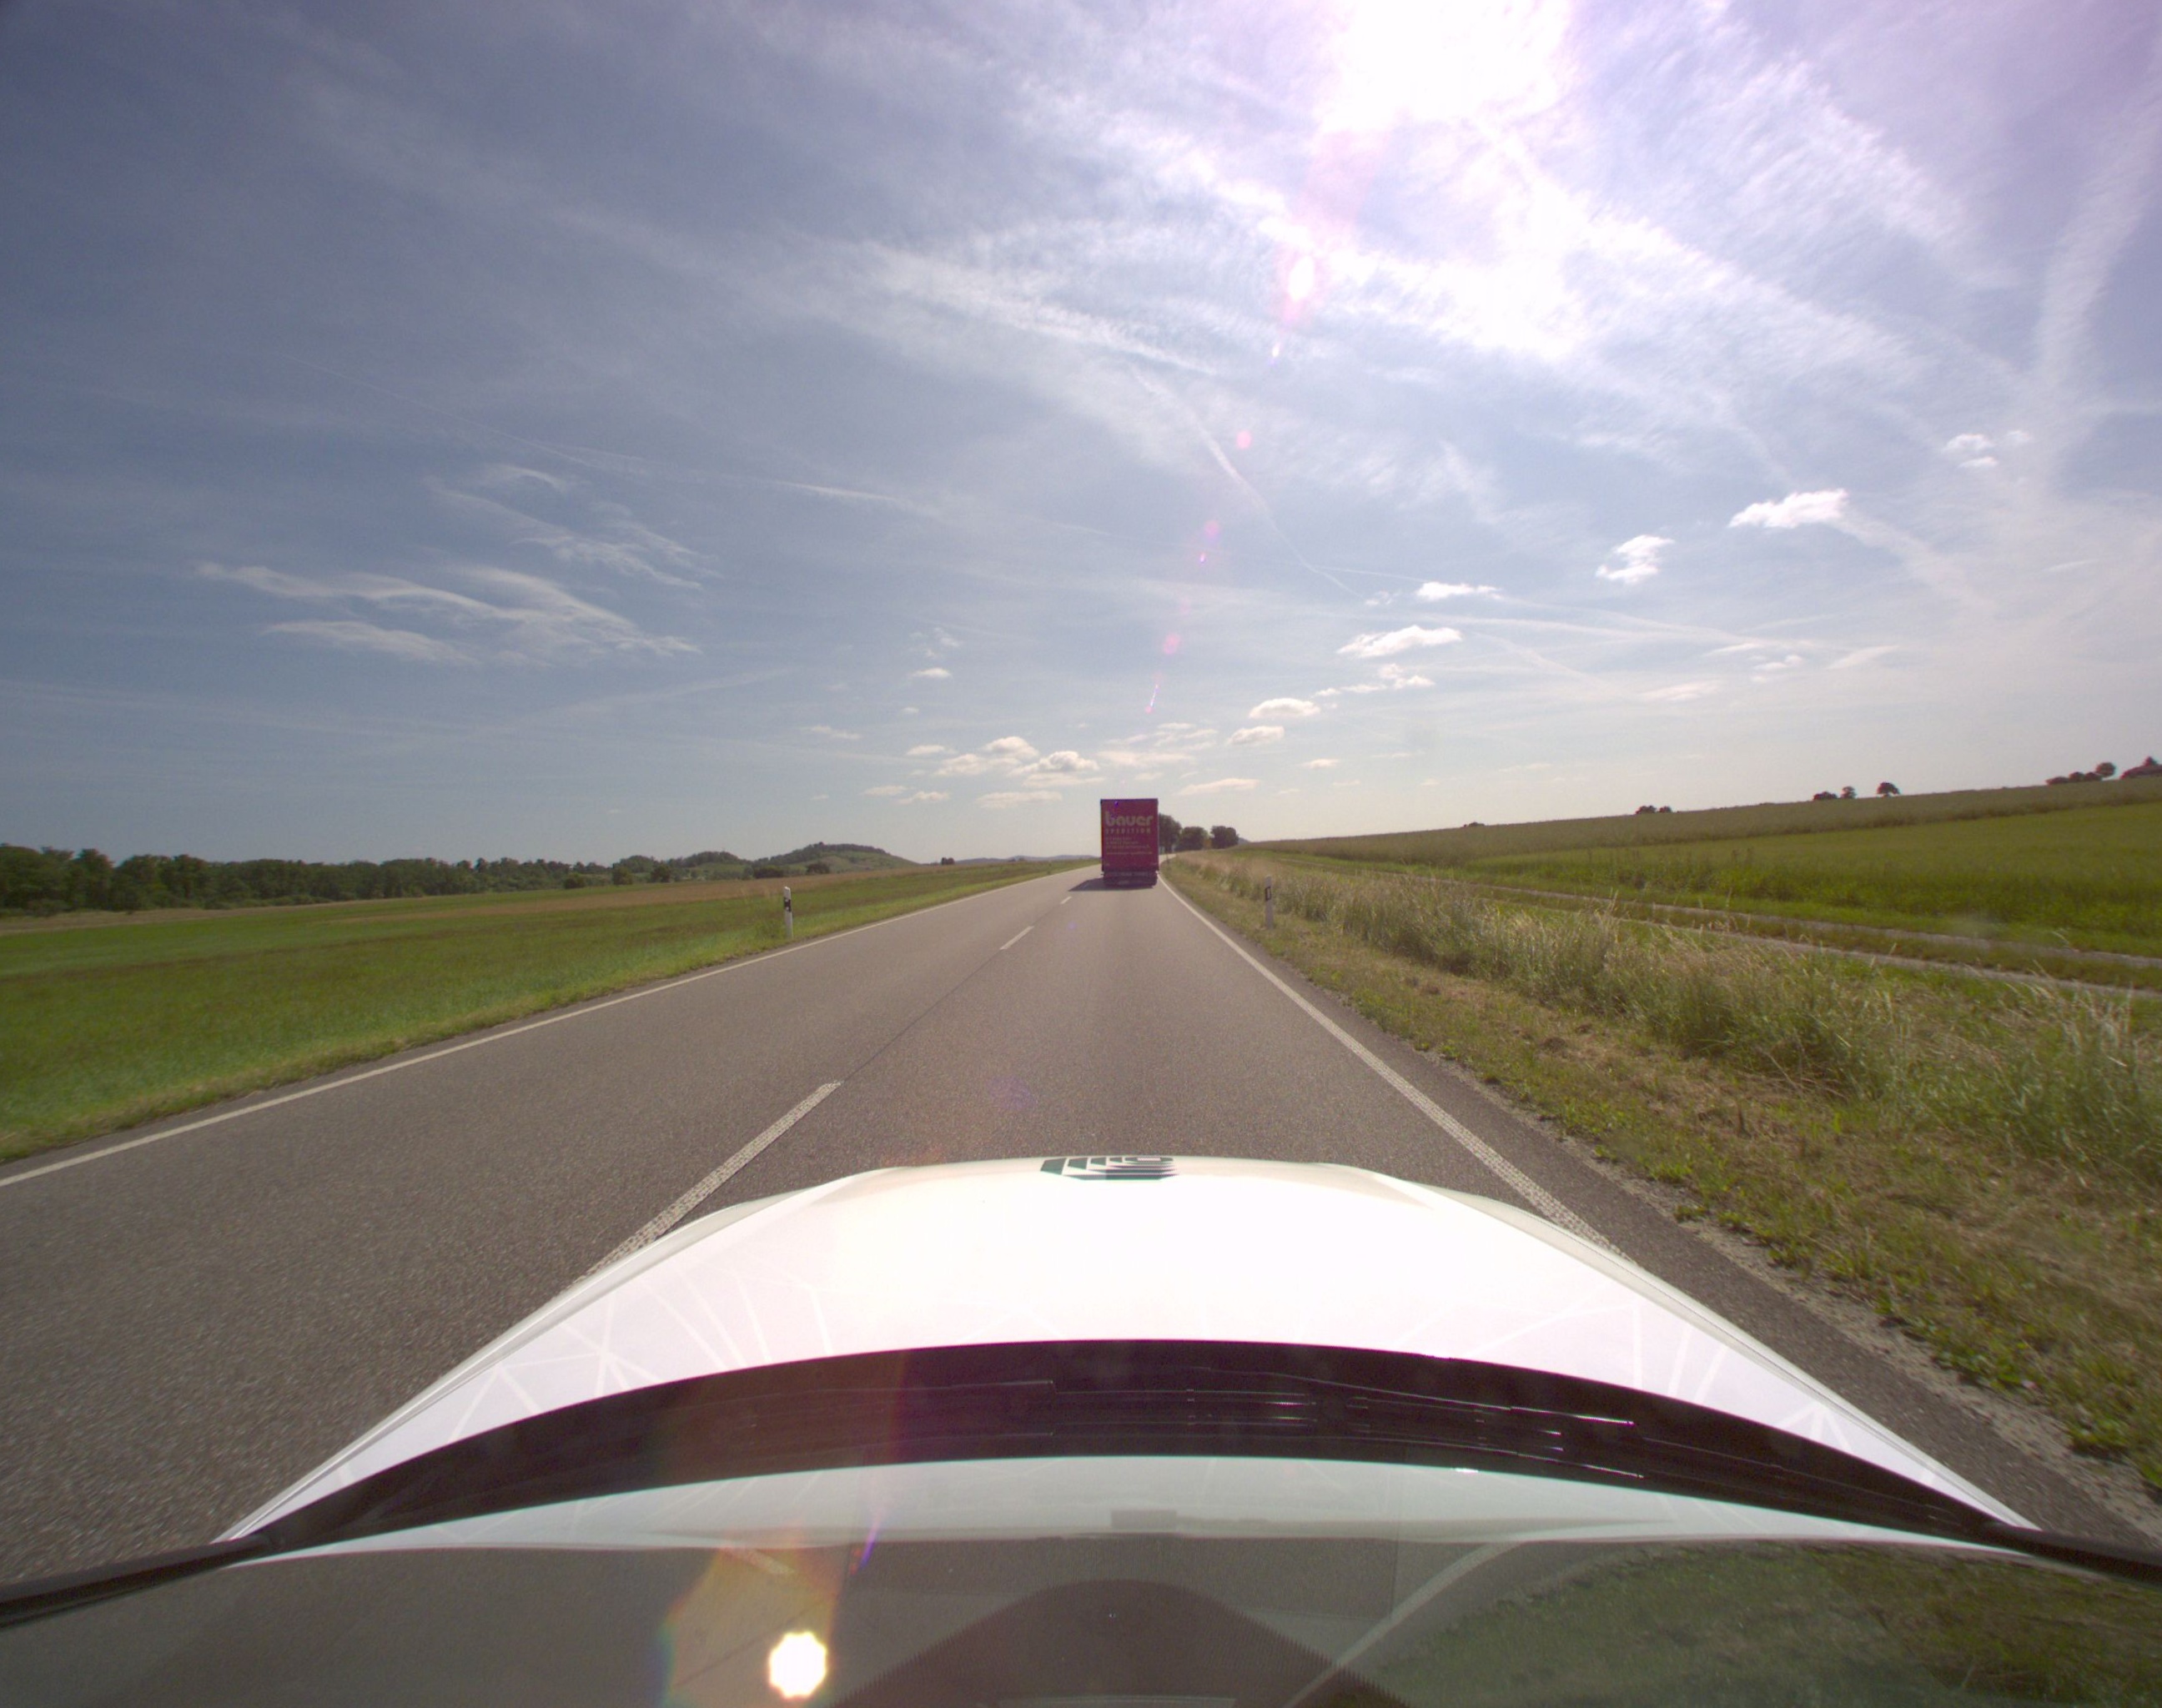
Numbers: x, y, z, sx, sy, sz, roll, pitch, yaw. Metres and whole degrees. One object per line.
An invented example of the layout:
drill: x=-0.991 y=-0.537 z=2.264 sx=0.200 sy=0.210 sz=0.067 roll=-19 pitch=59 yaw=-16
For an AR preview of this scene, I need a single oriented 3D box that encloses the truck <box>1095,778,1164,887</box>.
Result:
truck: x=2.483 y=-0.933 z=40.087 sx=2.961 sy=4.713 sz=9.378 roll=0 pitch=0 yaw=5
